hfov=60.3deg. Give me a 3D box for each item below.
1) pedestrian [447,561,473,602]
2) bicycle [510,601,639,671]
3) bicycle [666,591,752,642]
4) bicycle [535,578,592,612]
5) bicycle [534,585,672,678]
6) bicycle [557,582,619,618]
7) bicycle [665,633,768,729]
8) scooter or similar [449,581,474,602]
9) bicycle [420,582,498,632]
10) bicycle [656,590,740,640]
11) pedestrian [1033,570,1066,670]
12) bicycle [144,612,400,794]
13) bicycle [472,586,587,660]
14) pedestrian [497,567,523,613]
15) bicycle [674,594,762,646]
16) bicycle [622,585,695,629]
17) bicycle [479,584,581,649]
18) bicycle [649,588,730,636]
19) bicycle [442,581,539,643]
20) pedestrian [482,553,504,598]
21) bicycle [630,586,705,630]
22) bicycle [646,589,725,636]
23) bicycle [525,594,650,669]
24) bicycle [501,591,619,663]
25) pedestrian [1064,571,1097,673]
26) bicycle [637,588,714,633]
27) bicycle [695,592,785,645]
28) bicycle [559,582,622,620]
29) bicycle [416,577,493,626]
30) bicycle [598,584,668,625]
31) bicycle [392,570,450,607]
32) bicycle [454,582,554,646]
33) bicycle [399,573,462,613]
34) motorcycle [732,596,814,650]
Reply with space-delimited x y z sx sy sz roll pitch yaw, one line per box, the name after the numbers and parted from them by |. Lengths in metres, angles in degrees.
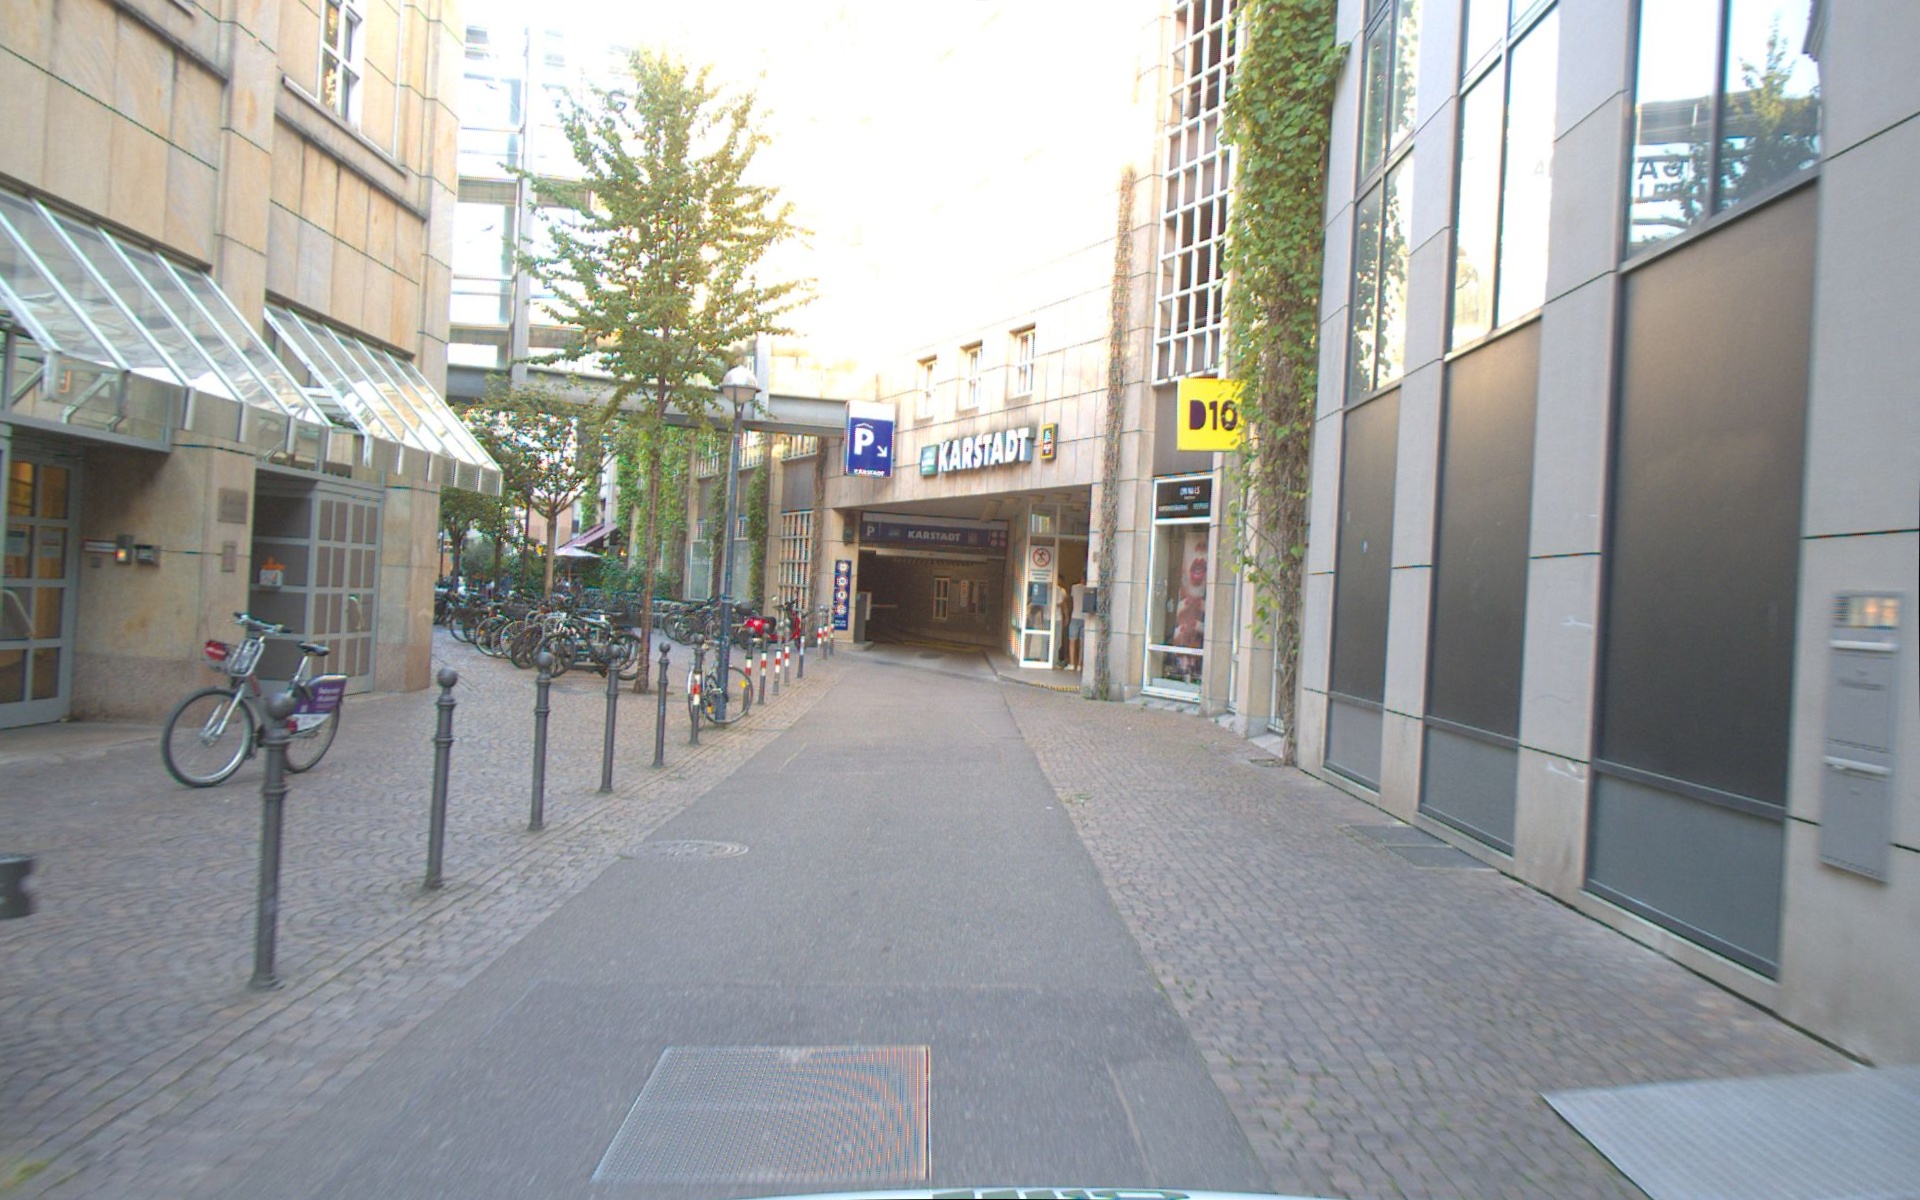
-20.997 -0.779 69.452 0.879 1.668 0.905 2 0 -22 | pedestrian
-6.092 0.567 26.150 1.885 1.011 0.692 3 0 -21 | bicycle
-6.123 0.404 40.348 1.964 1.203 0.798 1 1 -20 | bicycle
-14.466 -0.188 60.305 1.964 1.203 0.690 1 1 -20 | bicycle
-5.347 0.471 24.749 1.885 1.283 0.803 3 0 -21 | bicycle
-12.574 0.001 55.847 1.964 1.203 0.690 1 1 -20 | bicycle
-2.692 0.877 18.444 0.494 0.983 1.696 2 0 14 | bicycle
-20.683 -0.354 68.609 0.879 0.858 0.905 2 0 -22 | scooter or similar
-12.988 0.170 42.912 1.883 1.203 0.692 3 0 -18 | bicycle
-6.578 0.370 41.475 1.964 1.203 0.798 1 1 -20 | bicycle
1.718 0.375 31.752 0.531 1.878 0.409 3 1 6 | pedestrian
-4.727 0.663 11.514 0.679 1.131 1.778 2 0 14 | bicycle
-7.588 0.401 29.132 1.883 1.203 0.692 3 0 -18 | bicycle
-15.445 -0.347 56.736 0.737 1.535 0.633 2 0 -23 | pedestrian
-5.777 0.477 39.456 1.964 1.203 0.692 1 1 -20 | bicycle
-8.585 0.203 47.077 1.964 1.203 0.690 1 1 -20 | bicycle
-8.539 0.327 32.810 1.883 1.203 0.692 3 0 -18 | bicycle
-7.022 0.318 42.922 1.964 1.203 0.798 1 1 -20 | bicycle
-9.811 0.248 34.571 1.883 1.203 0.692 3 0 -18 | bicycle
-19.321 -1.017 68.431 0.754 1.836 0.772 2 0 -22 | pedestrian
-8.138 0.225 46.011 1.964 1.203 0.690 1 1 -20 | bicycle
-7.286 0.324 43.905 1.964 1.203 0.690 1 1 -20 | bicycle
-6.097 0.515 27.069 1.885 1.121 0.692 3 0 -21 | bicycle
-6.827 0.457 28.244 1.883 1.121 0.692 3 0 -18 | bicycle
2.296 0.410 31.525 0.531 1.893 0.409 3 1 6 | pedestrian
-7.712 0.286 44.781 1.964 1.203 0.690 1 1 -20 | bicycle
-5.143 0.426 38.624 1.964 1.203 0.692 1 1 -20 | bicycle
-12.296 0.032 55.042 1.964 1.203 0.690 1 1 -20 | bicycle
-13.346 0.049 43.714 1.883 1.203 0.692 3 0 -18 | bicycle
-9.774 0.132 49.371 1.964 1.203 0.690 1 1 -20 | bicycle
-18.997 -0.397 58.300 1.883 1.203 0.692 3 0 -18 | bicycle
-9.245 0.286 33.538 1.883 1.203 0.692 3 0 -18 | bicycle
-17.389 -0.233 54.352 1.883 1.203 0.692 3 0 -18 | bicycle
-4.179 0.513 36.964 1.718 1.175 0.591 1 0 -18 | motorcycle
